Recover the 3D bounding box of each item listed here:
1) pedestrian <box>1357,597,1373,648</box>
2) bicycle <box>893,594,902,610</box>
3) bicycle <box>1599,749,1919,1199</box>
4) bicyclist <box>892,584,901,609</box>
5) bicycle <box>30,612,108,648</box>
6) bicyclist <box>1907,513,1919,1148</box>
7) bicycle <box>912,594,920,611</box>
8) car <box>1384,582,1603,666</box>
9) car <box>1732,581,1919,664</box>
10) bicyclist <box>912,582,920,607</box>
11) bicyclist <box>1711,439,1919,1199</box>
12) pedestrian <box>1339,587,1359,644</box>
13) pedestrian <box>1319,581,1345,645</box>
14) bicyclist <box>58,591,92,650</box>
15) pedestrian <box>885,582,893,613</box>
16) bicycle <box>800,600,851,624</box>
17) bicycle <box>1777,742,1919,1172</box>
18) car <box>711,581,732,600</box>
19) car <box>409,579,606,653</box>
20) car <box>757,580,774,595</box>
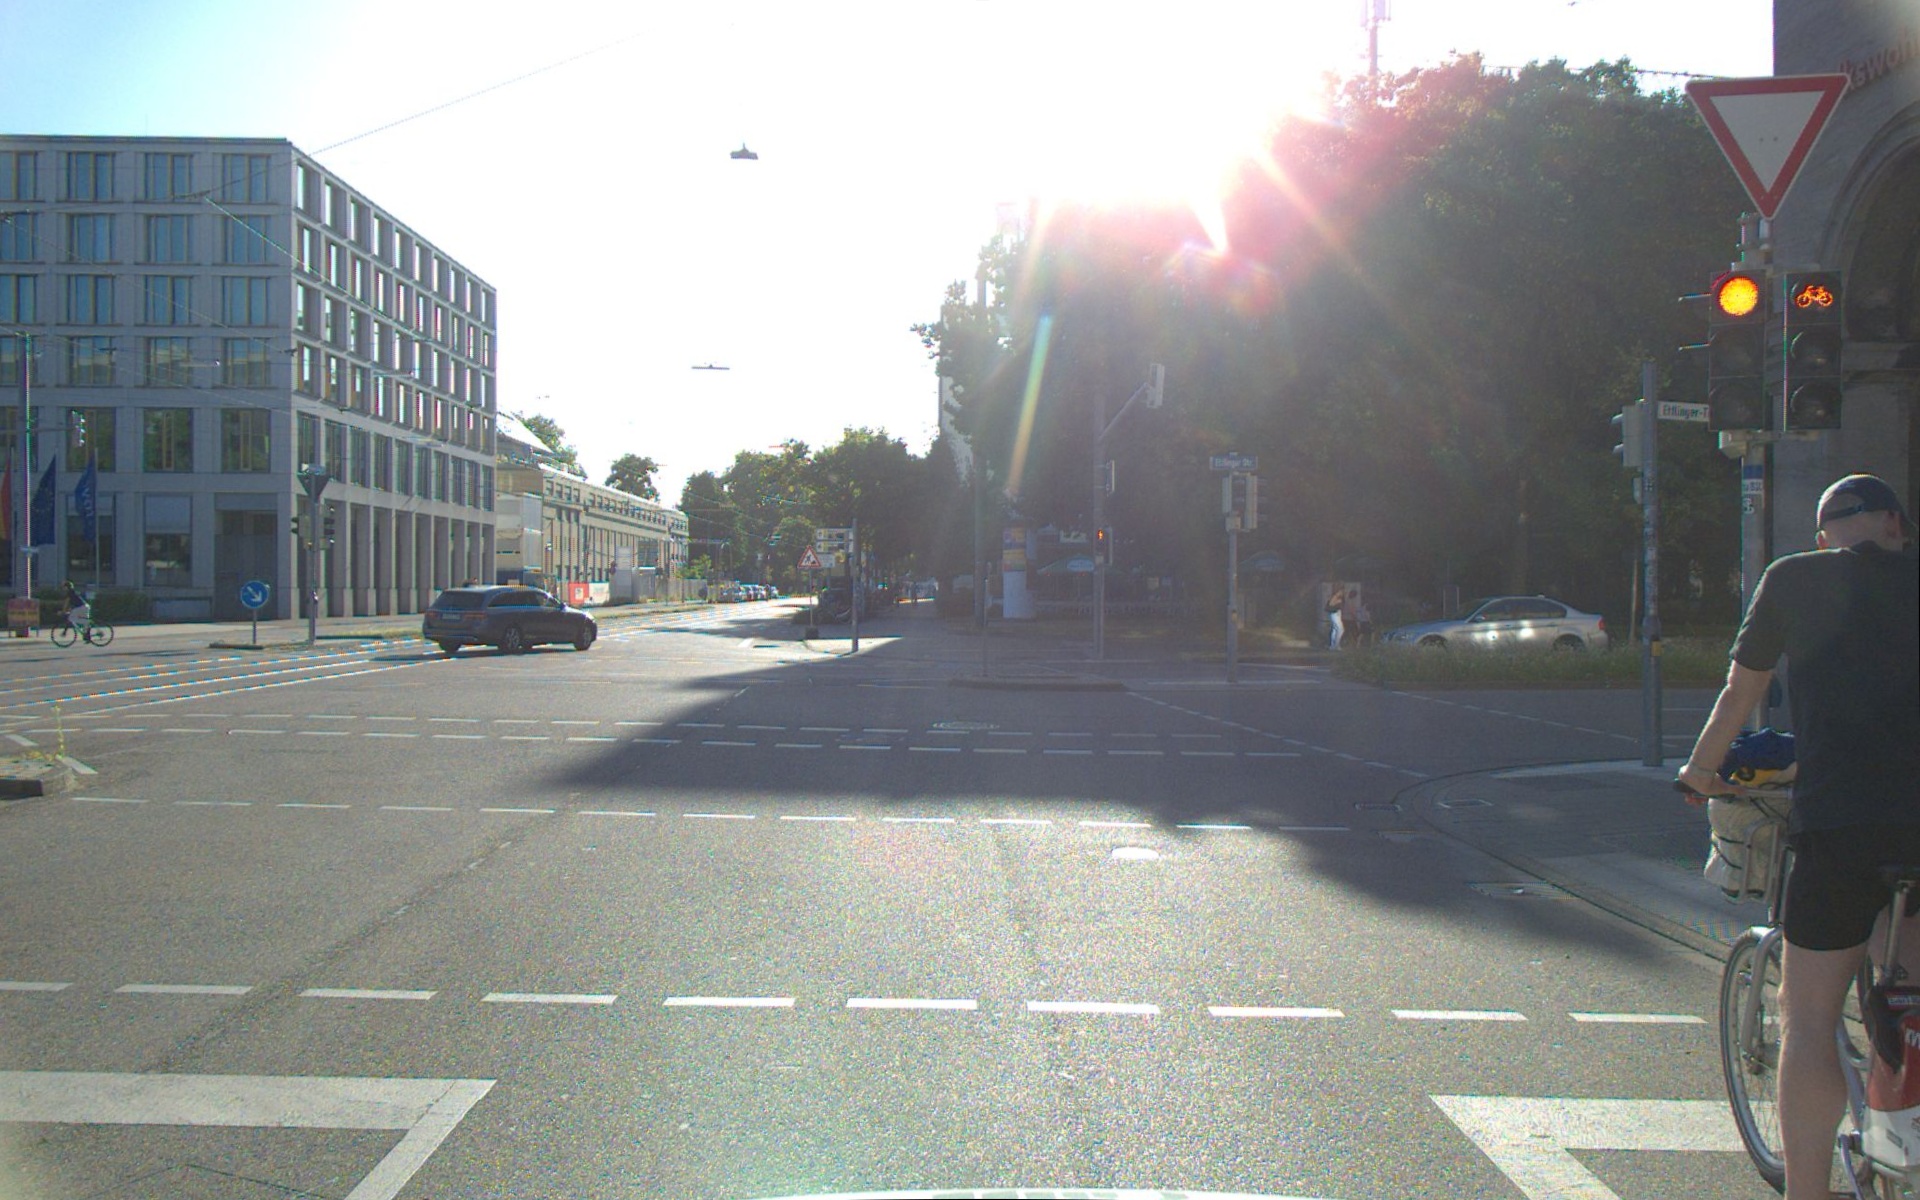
[{"bbox_3d":[10.724,0.601,43.794,0.310,1.339,0.345,1,1,1],"label":"pedestrian"},{"bbox_3d":[-4.201,0.144,111.039,0.563,1.096,1.830,0,0,-1],"label":"bicycle"},{"bbox_3d":[2.080,0.983,3.891,0.505,1.096,1.728,1,0,1],"label":"bicycle"},{"bbox_3d":[-4.247,-0.240,111.055,0.558,1.721,0.699,0,0,-1],"label":"bicyclist"},{"bbox_3d":[-24.726,0.823,45.932,1.834,0.951,0.757,0,0,-25],"label":"bicycle"},{"bbox_3d":[2.892,0.629,4.231,0.546,1.721,0.640,1,0,-2],"label":"bicyclist"},{"bbox_3d":[-2.960,0.168,111.015,0.563,1.096,1.830,0,0,-1],"label":"bicycle"},{"bbox_3d":[10.777,0.475,33.563,3.912,1.639,1.650,0,0,-1],"label":"car"},{"bbox_3d":[18.035,0.435,33.782,3.770,1.639,1.650,0,0,-1],"label":"car"},{"bbox_3d":[-2.957,-0.369,110.950,0.558,1.721,0.699,0,0,-1],"label":"bicyclist"},{"bbox_3d":[2.098,0.580,3.732,0.547,1.830,0.550,1,0,1],"label":"bicyclist"},{"bbox_3d":[10.487,0.414,44.553,0.430,1.529,0.437,0,0,0],"label":"pedestrian"},{"bbox_3d":[9.896,0.339,44.039,0.571,1.692,0.514,1,1,1],"label":"pedestrian"},{"bbox_3d":[-24.604,0.556,45.999,0.765,1.617,0.756,0,0,-24],"label":"bicyclist"},{"bbox_3d":[-4.194,-0.141,98.270,0.454,1.845,0.502,0,0,-5],"label":"pedestrian"},{"bbox_3d":[-5.484,0.508,67.384,1.976,0.907,0.650,-2,-1,27],"label":"bicycle"},{"bbox_3d":[2.867,1.001,4.339,0.523,1.096,1.750,1,0,-2],"label":"bicycle"},{"bbox_3d":[-22.474,-0.895,156.112,1.659,1.748,4.244,1,0,-4],"label":"car"},{"bbox_3d":[-10.337,0.327,38.156,1.853,1.592,4.807,0,0,22],"label":"car"},{"bbox_3d":[-22.834,-1.433,194.361,1.659,1.748,4.244,1,0,-4],"label":"car"}]
